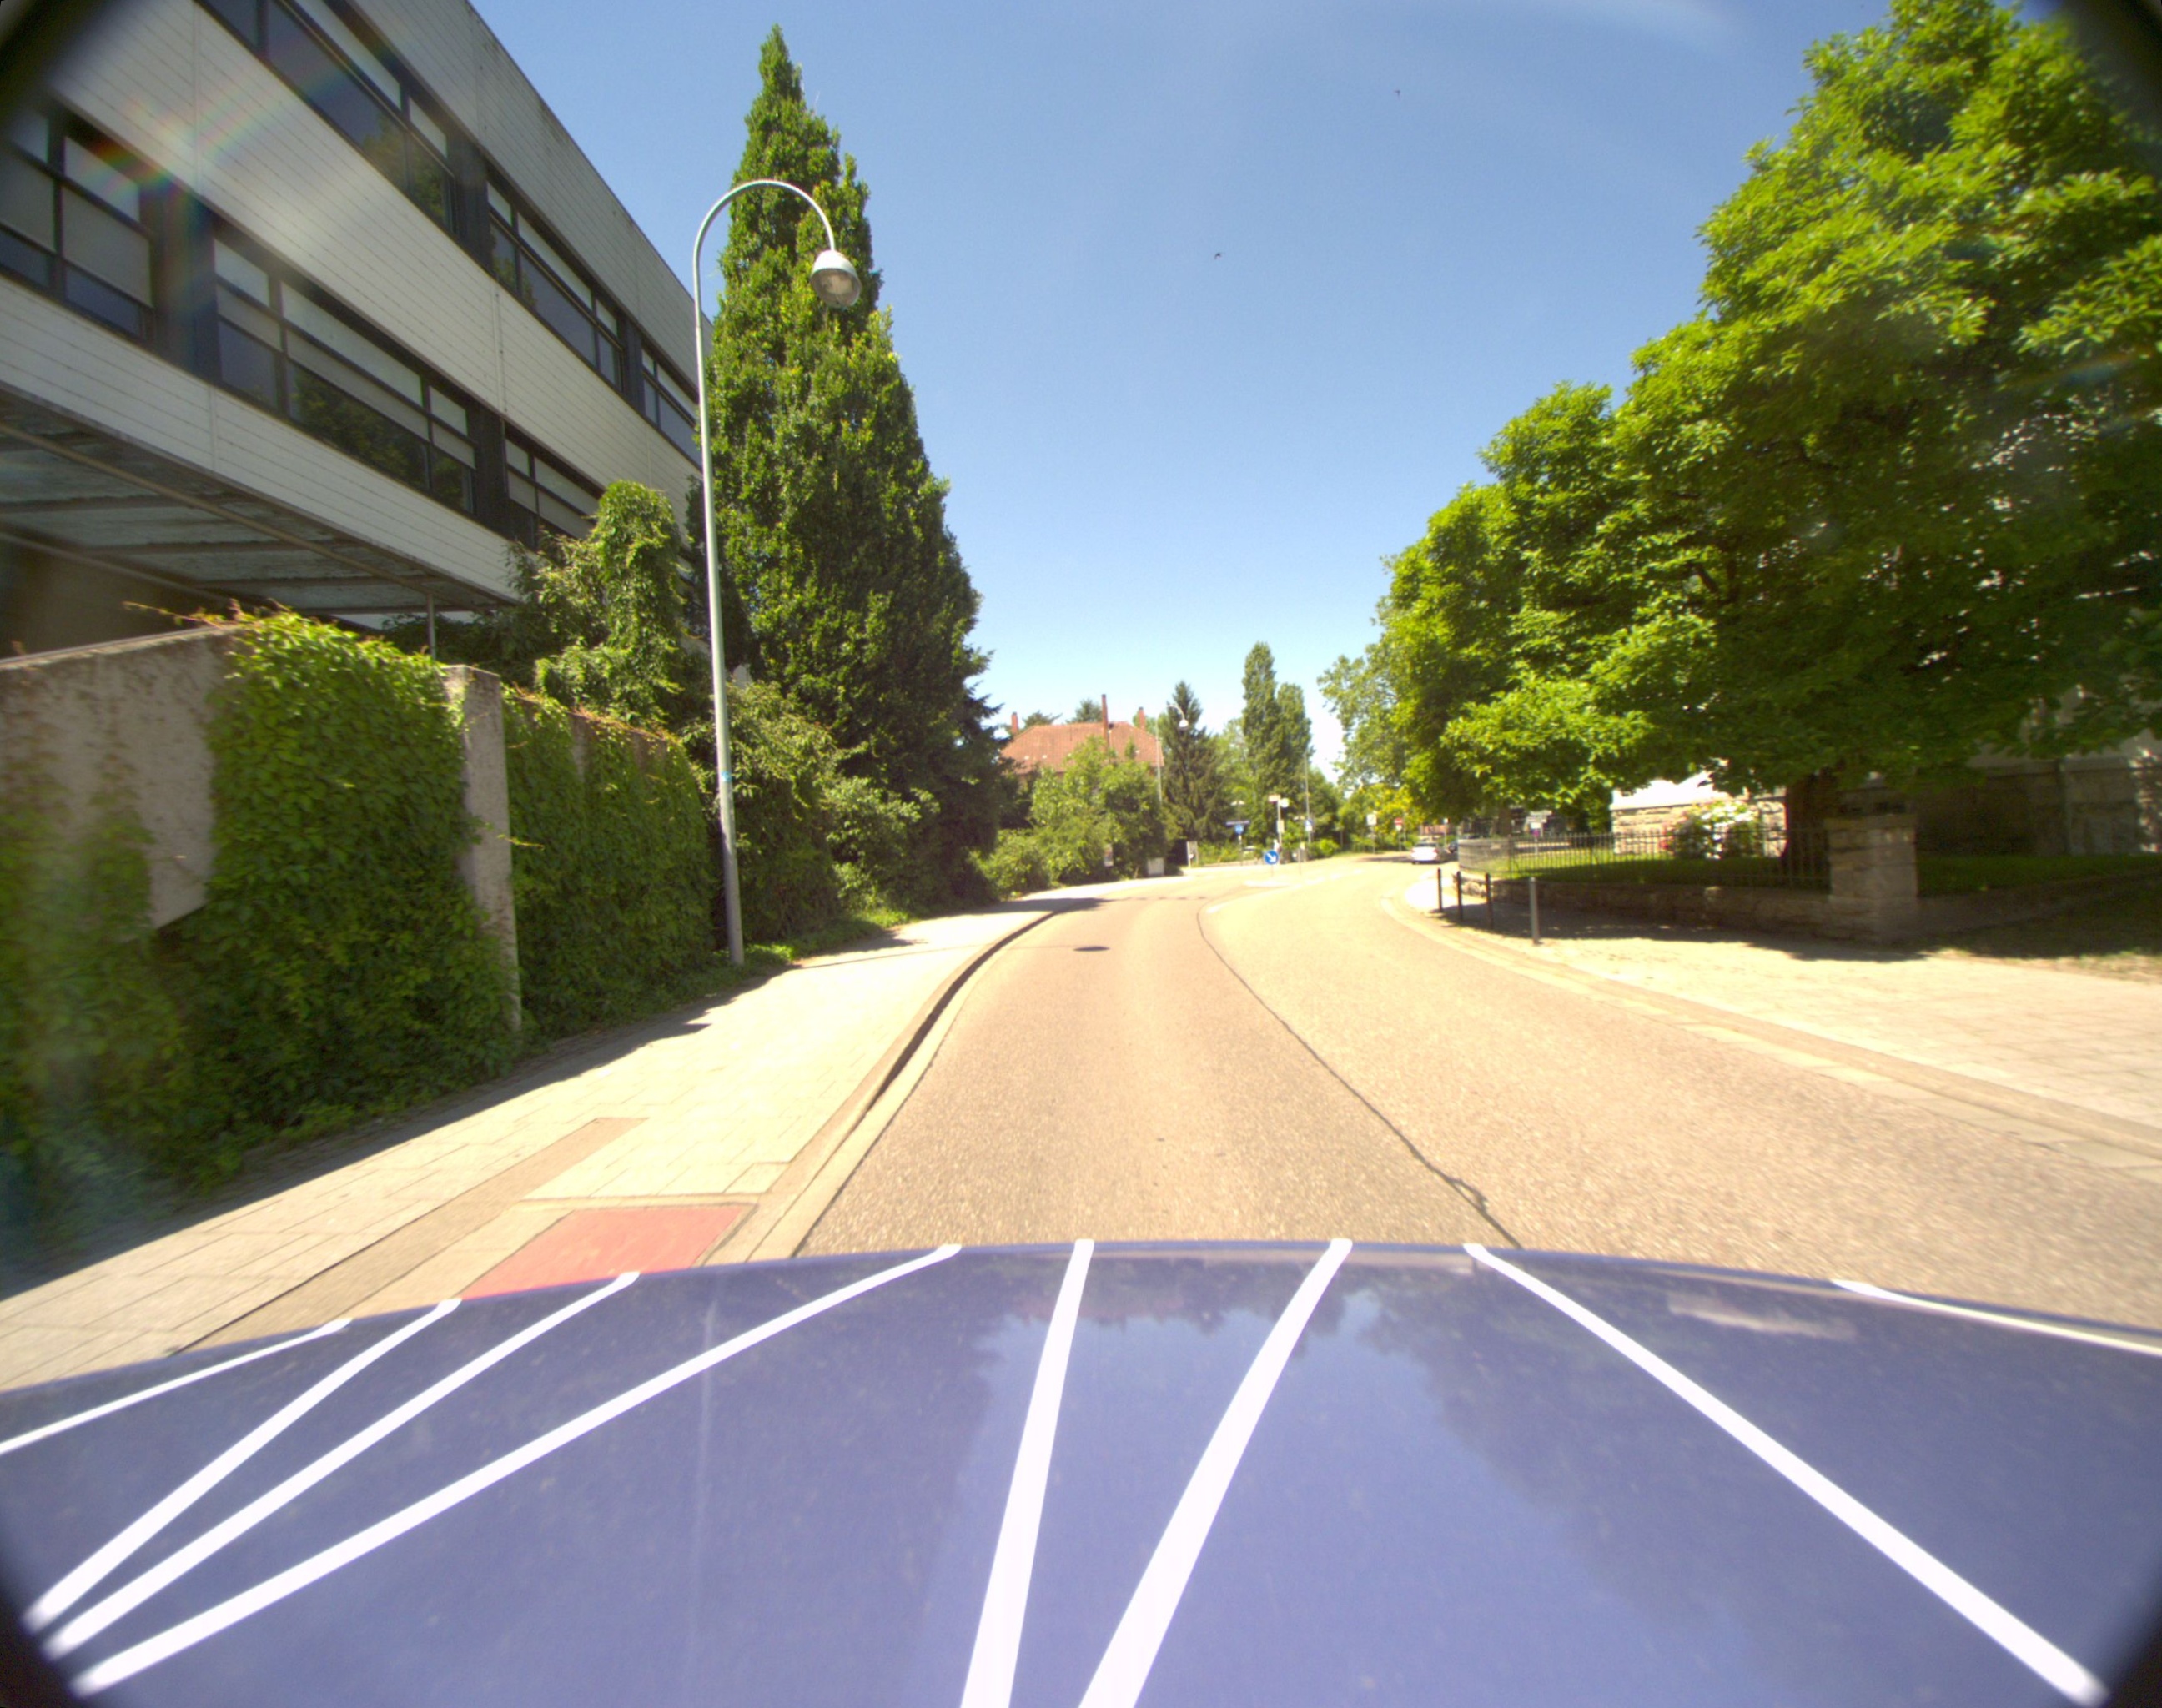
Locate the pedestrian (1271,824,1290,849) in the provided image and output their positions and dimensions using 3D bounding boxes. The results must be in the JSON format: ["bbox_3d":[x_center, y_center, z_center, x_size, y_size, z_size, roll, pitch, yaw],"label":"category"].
[{"bbox_3d":[14.568,-1.302,55.473,0.917,1.762,0.912,-4,3,-39],"label":"pedestrian"}]

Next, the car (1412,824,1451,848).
[{"bbox_3d":[22.082,-1.125,47.791,1.759,1.427,4.311,0,1,31],"label":"car"}]
